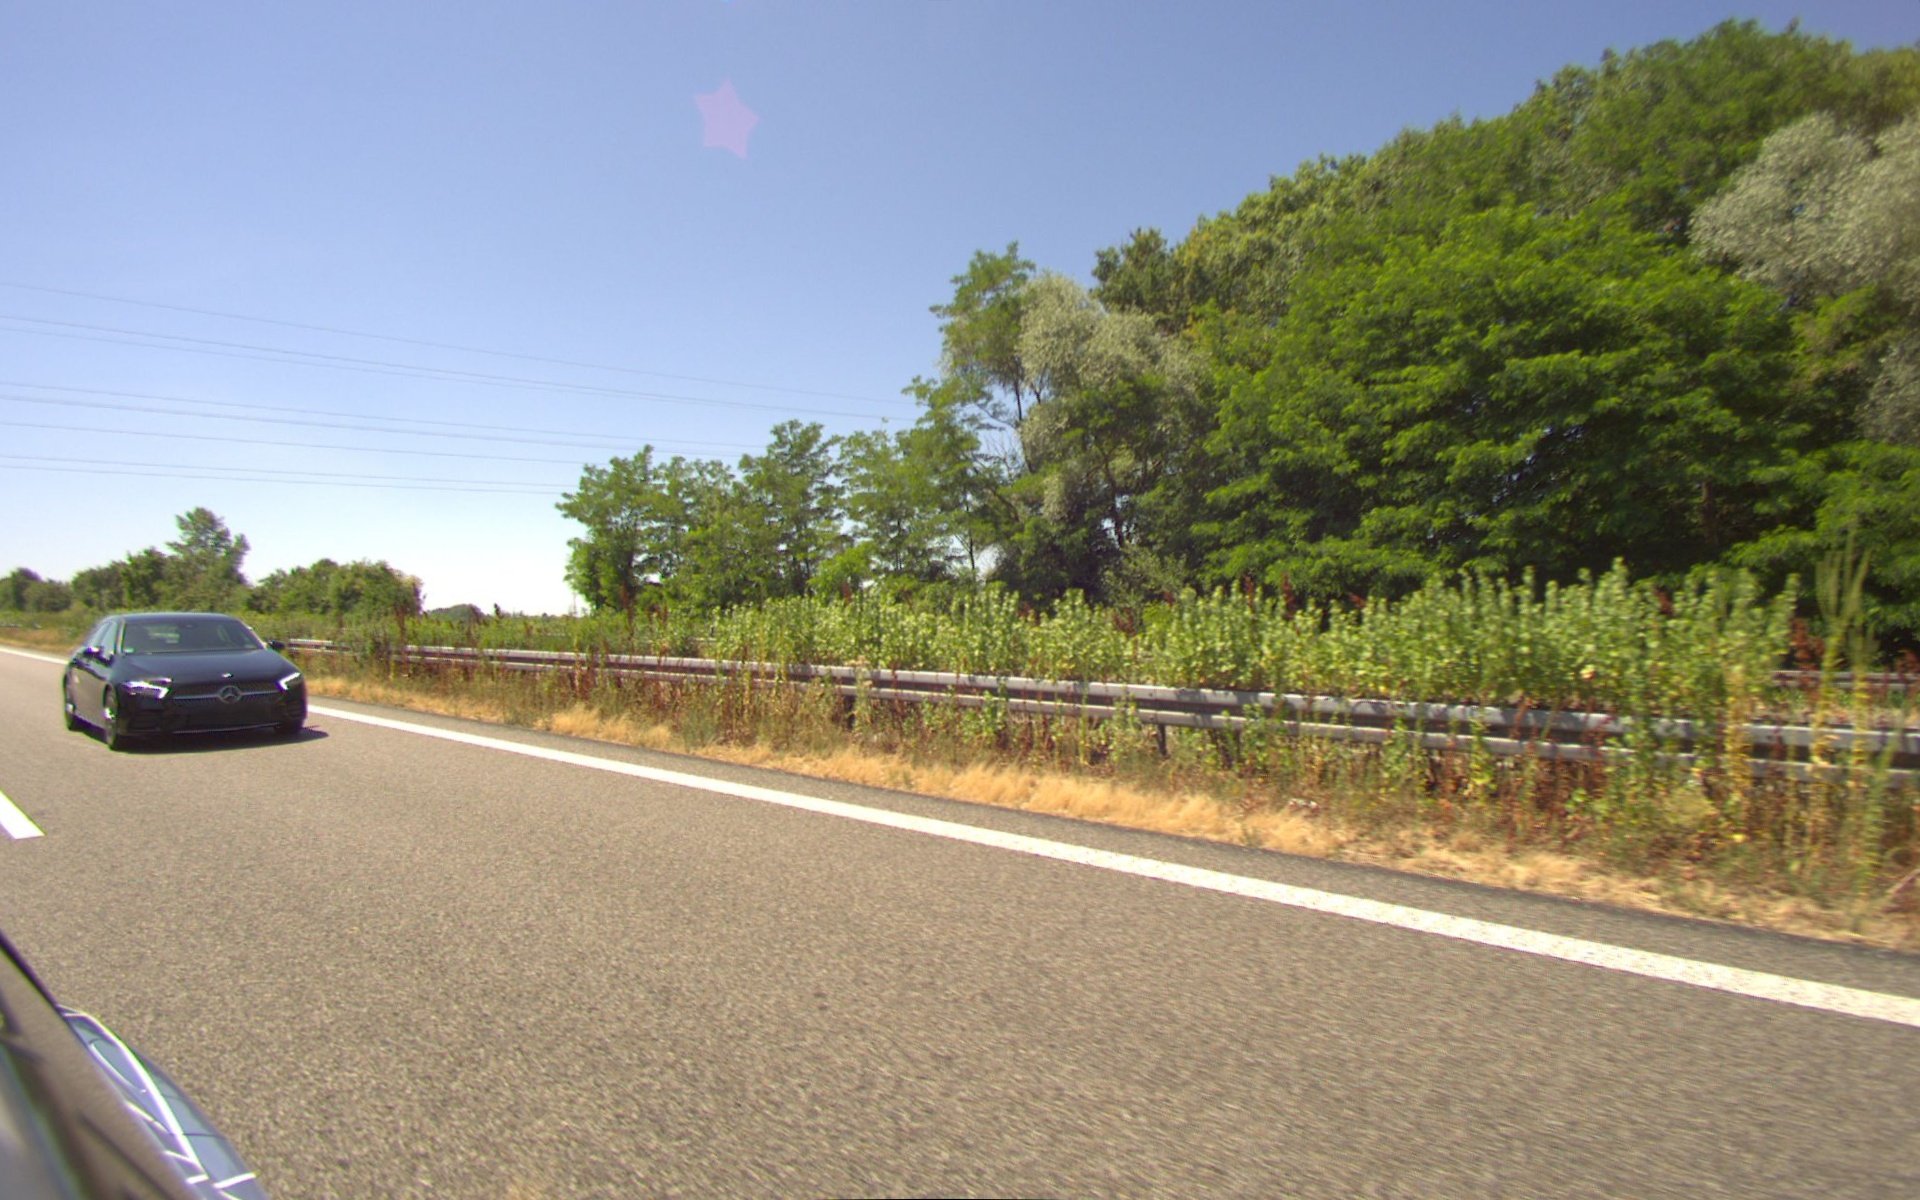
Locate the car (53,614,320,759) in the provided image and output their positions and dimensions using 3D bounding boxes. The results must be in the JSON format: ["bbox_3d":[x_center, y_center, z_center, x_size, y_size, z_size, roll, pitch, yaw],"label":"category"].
[{"bbox_3d":[-9.315,0.894,12.072,4.050,1.422,1.773,-1,-1,41],"label":"car"}]
